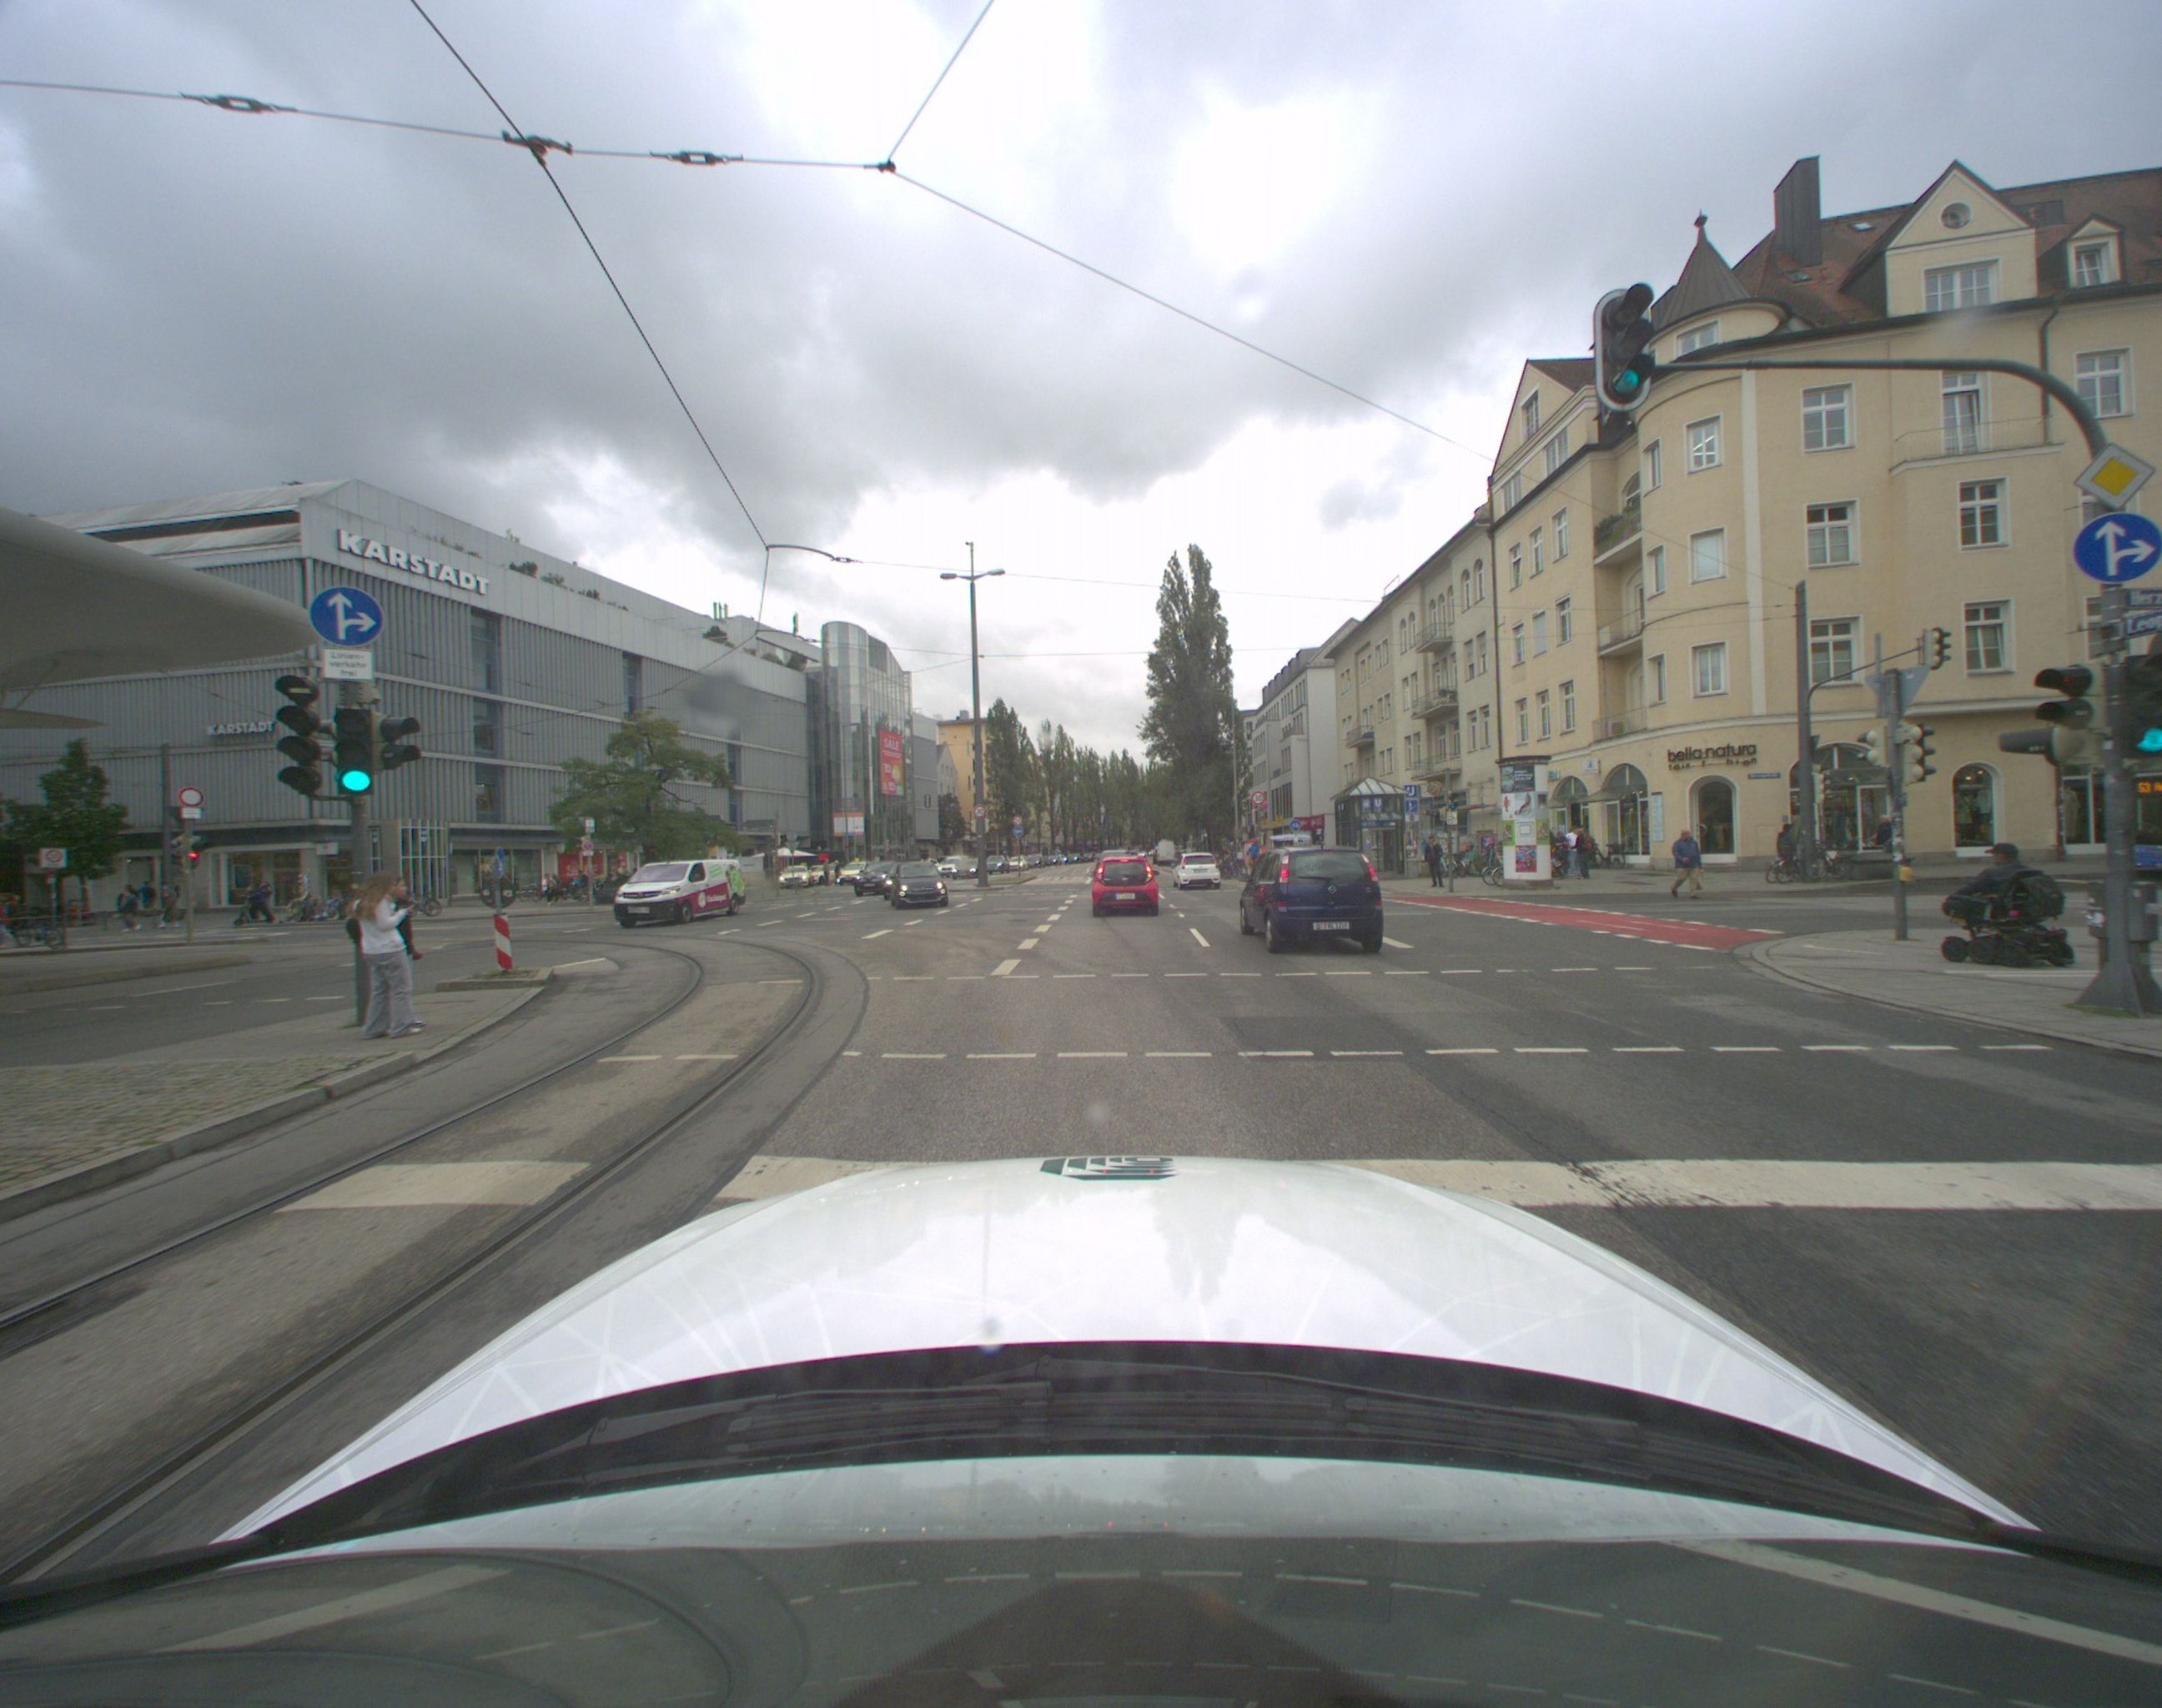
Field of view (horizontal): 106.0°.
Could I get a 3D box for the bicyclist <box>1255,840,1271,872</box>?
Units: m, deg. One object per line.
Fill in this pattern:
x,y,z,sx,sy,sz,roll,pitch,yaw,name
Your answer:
9.931,0.103,44.439,0.611,1.657,1.252,-2,0,3,bicyclist

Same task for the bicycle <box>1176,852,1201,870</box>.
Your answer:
7.972,0.511,60.343,1.815,1.241,0.590,-2,0,44,bicycle

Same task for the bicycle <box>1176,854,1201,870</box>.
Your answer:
7.859,0.565,59.679,1.815,1.136,0.590,-2,0,44,bicycle

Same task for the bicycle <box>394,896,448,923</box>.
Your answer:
-26.965,2.263,33.301,0.525,0.998,1.987,-2,-2,3,bicycle

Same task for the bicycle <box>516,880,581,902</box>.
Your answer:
-30.704,2.131,46.958,3.468,1.156,1.064,-2,0,14,bicycle

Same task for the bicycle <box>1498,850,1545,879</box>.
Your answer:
17.182,0.398,31.823,0.495,1.059,1.858,-2,0,-13,bicycle

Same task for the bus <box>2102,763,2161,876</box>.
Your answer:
34.967,-1.172,20.089,13.468,2.966,2.825,-2,1,12,bus

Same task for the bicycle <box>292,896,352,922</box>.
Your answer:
-31.379,2.259,33.708,0.525,0.998,1.987,-2,-2,3,bicycle

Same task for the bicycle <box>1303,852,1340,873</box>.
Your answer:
12.444,0.438,42.171,1.748,0.964,0.453,-2,0,0,bicycle

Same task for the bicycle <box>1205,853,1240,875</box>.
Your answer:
7.713,0.558,44.401,1.782,1.158,0.490,-2,0,28,bicycle

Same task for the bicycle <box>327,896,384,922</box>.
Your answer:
-29.918,2.260,33.633,0.525,0.998,1.987,-2,-2,3,bicycle

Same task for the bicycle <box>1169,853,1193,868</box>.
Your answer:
7.998,0.498,65.336,1.814,1.136,0.590,-2,0,38,bicycle

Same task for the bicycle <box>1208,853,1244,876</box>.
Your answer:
7.645,0.561,42.909,1.781,1.158,0.551,-2,0,40,bicycle

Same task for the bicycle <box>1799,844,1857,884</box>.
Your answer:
21.121,0.279,23.030,1.580,1.033,0.356,-2,0,-13,bicycle

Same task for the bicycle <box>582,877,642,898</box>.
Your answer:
-29.598,2.119,51.363,3.468,1.156,1.064,-2,0,14,bicycle

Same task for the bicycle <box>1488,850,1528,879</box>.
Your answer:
16.563,0.398,31.613,0.493,1.059,1.865,-2,0,-2,bicycle

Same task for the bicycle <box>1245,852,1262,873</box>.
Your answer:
10.624,0.498,50.212,0.611,1.265,2.521,-2,0,3,bicycle

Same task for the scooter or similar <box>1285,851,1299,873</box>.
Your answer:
11.476,0.417,44.220,0.297,1.176,1.285,-2,0,32,scooter or similar

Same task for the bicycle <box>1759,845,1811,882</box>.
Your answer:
20.666,0.276,23.897,1.580,1.033,0.247,-2,0,-13,bicycle

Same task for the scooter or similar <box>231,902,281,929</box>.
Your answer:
-34.227,2.539,33.801,0.409,0.982,1.412,-2,0,45,scooter or similar

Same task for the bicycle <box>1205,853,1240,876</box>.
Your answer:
7.580,0.560,43.594,1.781,1.158,0.551,-2,0,40,bicycle

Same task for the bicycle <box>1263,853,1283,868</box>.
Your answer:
12.555,0.424,53.193,1.177,0.963,0.369,-2,0,0,bicycle

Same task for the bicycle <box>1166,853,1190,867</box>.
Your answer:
7.964,0.494,66.805,1.814,1.136,0.590,-2,0,38,bicycle

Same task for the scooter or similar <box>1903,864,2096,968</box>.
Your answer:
10.475,0.671,9.350,0.773,1.075,1.256,-2,0,0,scooter or similar

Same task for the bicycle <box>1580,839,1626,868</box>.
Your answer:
20.420,-0.009,31.884,0.493,1.089,1.864,-2,0,-4,bicycle

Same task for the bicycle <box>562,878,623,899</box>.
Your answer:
-29.954,2.123,49.937,3.468,1.156,1.064,-2,0,14,bicycle

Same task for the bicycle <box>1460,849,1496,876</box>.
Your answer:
15.408,0.319,31.658,0.492,0.975,1.867,-2,0,2,bicycle

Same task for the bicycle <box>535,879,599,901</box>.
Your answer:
-30.403,2.128,48.164,3.468,1.156,1.064,-2,0,14,bicycle

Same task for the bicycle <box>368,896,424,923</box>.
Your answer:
-28.118,2.262,33.470,0.525,0.998,1.987,-2,-2,3,bicycle

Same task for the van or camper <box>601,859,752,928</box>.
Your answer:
-12.310,1.105,25.319,1.922,1.826,5.439,-2,0,0,van or camper

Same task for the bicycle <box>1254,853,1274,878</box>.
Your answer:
9.958,0.597,44.313,0.611,1.265,2.521,-2,0,3,bicycle

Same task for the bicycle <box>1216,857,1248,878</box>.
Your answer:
7.552,0.662,40.856,0.502,1.028,1.582,-2,0,-40,bicycle

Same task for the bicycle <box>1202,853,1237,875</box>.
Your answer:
7.670,0.579,45.063,1.782,1.158,0.490,-2,0,31,bicycle

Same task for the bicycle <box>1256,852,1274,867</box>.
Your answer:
12.704,0.396,56.211,1.229,0.963,0.367,-2,0,-20,bicycle

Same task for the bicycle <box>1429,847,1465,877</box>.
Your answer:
14.231,0.284,31.701,0.564,1.107,1.867,-2,0,2,bicycle

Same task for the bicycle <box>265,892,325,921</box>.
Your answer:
-32.621,2.154,33.815,0.582,1.111,1.895,-2,-2,3,bicycle

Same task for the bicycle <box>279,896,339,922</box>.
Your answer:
-32.002,2.259,33.794,0.525,0.998,1.987,-2,-2,3,bicycle

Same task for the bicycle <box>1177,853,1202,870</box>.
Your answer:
7.849,0.560,58.917,1.815,1.136,0.590,-2,0,44,bicycle

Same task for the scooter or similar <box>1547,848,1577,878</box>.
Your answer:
16.569,0.307,28.061,0.812,0.994,0.597,-2,3,24,scooter or similar

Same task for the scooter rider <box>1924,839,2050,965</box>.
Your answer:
10.428,0.534,9.399,0.698,1.389,0.643,-2,0,0,scooter rider

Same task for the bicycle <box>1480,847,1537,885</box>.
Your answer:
14.273,0.386,27.197,1.561,1.160,0.525,-3,2,4,bicycle

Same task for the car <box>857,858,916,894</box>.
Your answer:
-9.127,0.988,38.559,1.659,1.508,4.281,-2,0,0,car

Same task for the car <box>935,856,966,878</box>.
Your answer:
-10.524,1.026,65.896,1.692,1.596,4.000,-2,0,1,car

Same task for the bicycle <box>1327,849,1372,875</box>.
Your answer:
12.149,0.362,36.924,1.832,1.094,0.509,-2,0,0,bicycle

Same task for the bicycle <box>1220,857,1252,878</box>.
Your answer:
7.597,0.666,39.999,0.502,1.028,1.582,-2,0,-40,bicycle

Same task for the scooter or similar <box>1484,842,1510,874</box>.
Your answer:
16.040,0.153,31.419,0.287,1.227,1.151,-2,0,-7,scooter or similar

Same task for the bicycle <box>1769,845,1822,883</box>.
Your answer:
20.739,0.277,23.641,1.580,1.033,0.247,-2,0,-13,bicycle

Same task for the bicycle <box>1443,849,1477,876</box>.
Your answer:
14.731,0.318,31.671,0.492,0.975,1.867,-2,0,2,bicycle

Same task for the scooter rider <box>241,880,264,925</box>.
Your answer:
-34.310,1.994,33.715,0.549,1.839,0.613,-2,0,45,scooter rider

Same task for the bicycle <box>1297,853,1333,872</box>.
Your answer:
12.446,0.448,43.393,1.747,0.964,0.453,-2,0,2,bicycle

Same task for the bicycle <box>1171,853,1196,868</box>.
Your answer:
7.895,0.504,62.607,1.814,1.136,0.590,-2,0,38,bicycle

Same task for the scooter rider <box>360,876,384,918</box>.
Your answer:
-31.957,1.944,36.720,0.669,1.835,0.614,-2,0,-30,scooter rider

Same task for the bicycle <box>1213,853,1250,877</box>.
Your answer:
7.654,0.577,41.514,0.562,1.198,1.782,-2,0,-45,bicycle

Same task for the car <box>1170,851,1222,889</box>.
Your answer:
4.705,0.636,33.575,1.693,1.426,3.498,-2,0,1,car

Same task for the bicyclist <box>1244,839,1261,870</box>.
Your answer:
10.610,0.053,50.392,0.759,1.869,1.133,-2,0,2,bicyclist

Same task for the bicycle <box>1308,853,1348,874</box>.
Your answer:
12.298,0.458,40.591,1.832,0.964,0.509,-2,0,0,bicycle

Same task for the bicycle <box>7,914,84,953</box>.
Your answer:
-29.211,2.227,23.001,0.455,0.939,1.720,-2,-1,-18,bicycle

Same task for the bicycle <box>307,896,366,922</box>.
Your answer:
-30.782,2.260,33.707,0.525,0.998,1.987,-2,-2,3,bicycle

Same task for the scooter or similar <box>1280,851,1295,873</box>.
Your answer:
11.301,0.417,44.586,0.360,1.176,1.356,-2,0,32,scooter or similar

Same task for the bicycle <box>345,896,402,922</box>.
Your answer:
-29.139,2.261,33.585,0.525,0.998,1.987,-2,-2,3,bicycle
